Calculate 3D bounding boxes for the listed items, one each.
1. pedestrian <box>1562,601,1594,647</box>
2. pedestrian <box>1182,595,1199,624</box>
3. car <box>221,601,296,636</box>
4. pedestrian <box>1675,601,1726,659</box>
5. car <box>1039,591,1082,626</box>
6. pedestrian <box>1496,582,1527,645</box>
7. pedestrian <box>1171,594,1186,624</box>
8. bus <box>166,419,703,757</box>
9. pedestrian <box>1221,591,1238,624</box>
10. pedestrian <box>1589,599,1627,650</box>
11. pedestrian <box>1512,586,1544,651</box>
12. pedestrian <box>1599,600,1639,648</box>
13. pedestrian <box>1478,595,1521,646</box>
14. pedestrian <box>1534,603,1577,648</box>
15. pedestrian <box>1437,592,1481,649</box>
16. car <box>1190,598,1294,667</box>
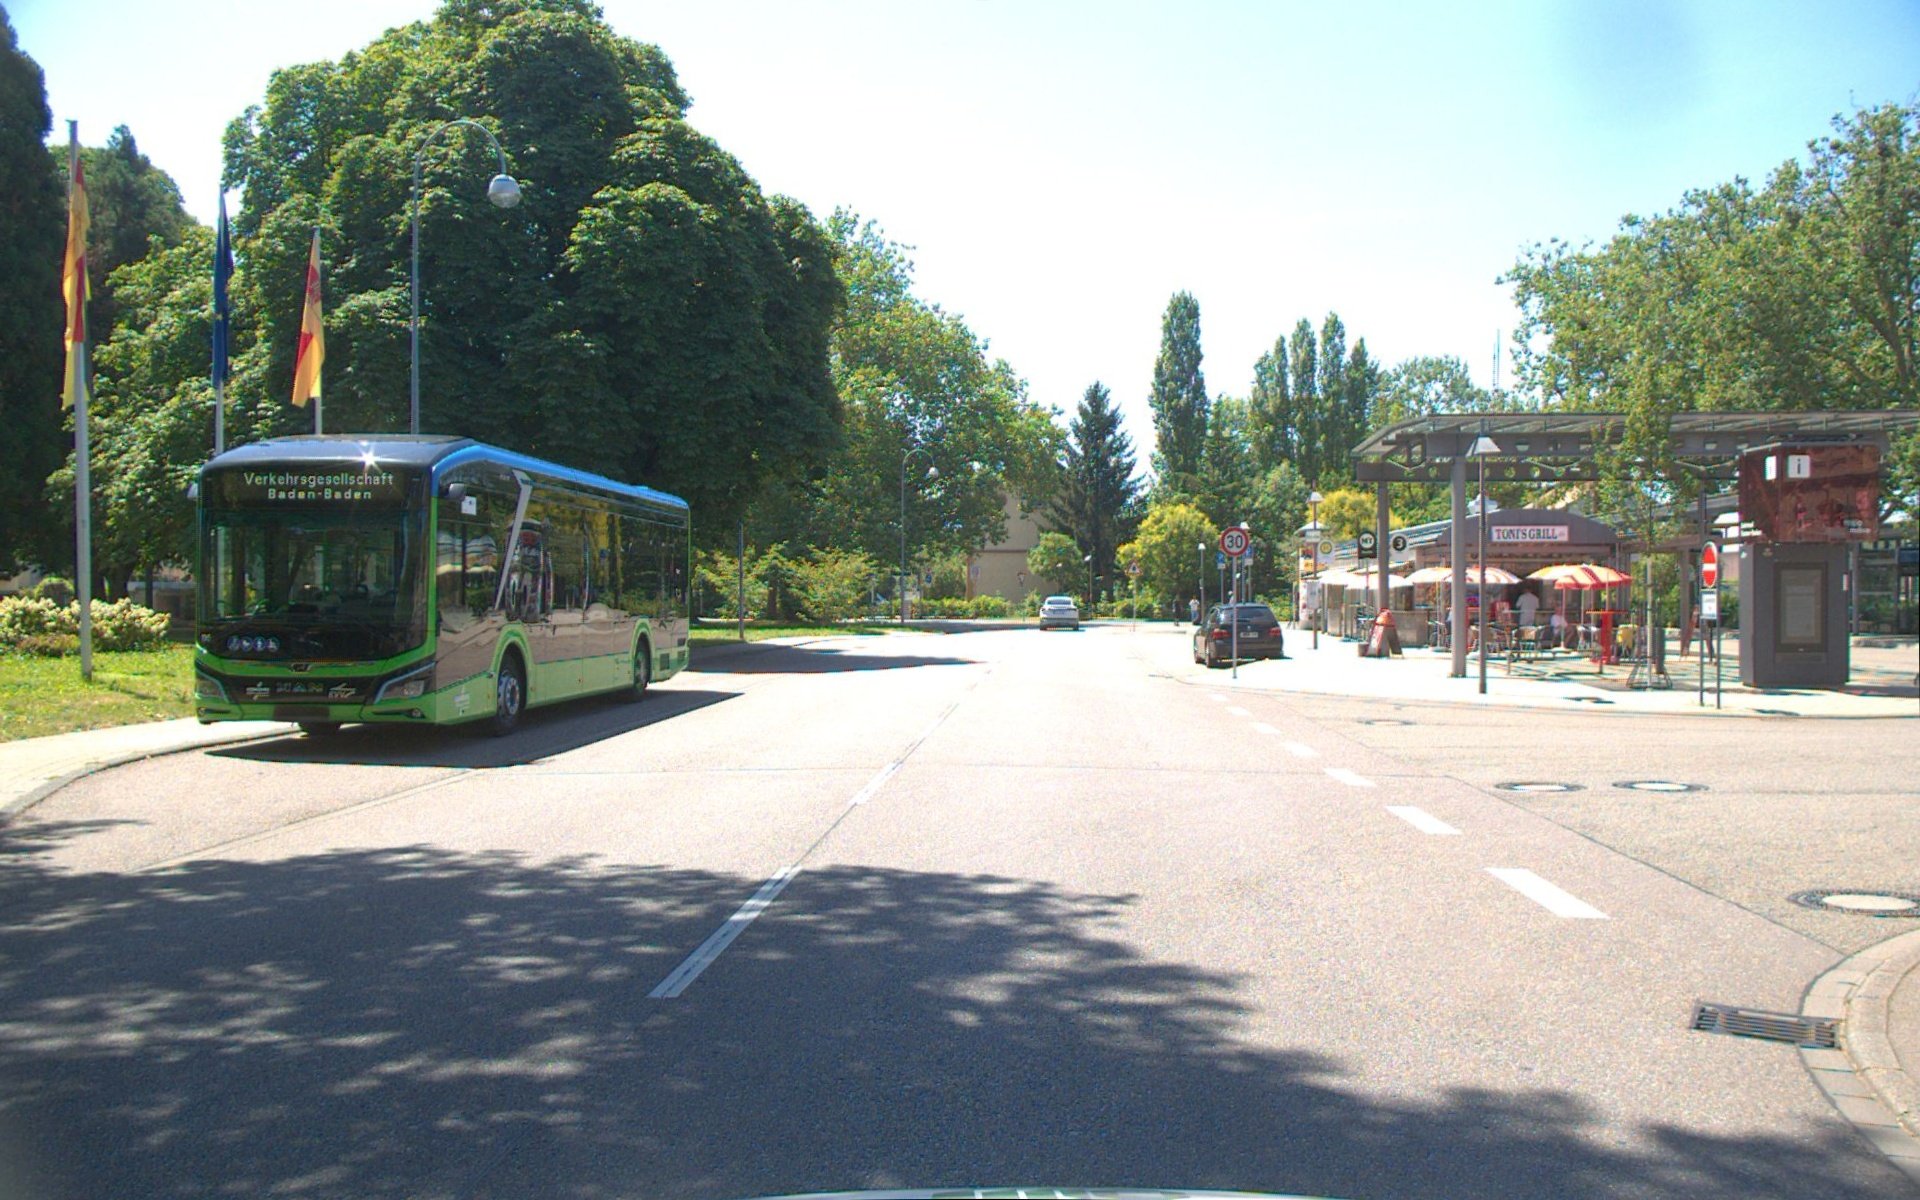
[{"bbox_3d":[16.930,0.656,45.336,0.641,1.226,0.592,2,-1,3],"label":"pedestrian"},{"bbox_3d":[13.536,0.573,97.202,0.707,1.678,0.749,0,-2,31],"label":"pedestrian"},{"bbox_3d":[-40.145,1.087,94.754,1.830,1.870,4.003,2,-1,14],"label":"car"},{"bbox_3d":[16.765,0.674,37.466,0.827,1.300,0.895,0,0,8],"label":"pedestrian"},{"bbox_3d":[5.031,0.393,82.280,1.940,1.655,4.782,0,0,6],"label":"car"},{"bbox_3d":[15.652,0.382,46.957,0.672,1.768,0.707,0,0,3],"label":"pedestrian"},{"bbox_3d":[12.661,0.523,95.897,0.624,1.678,0.749,0,-2,31],"label":"pedestrian"},{"bbox_3d":[-6.194,-0.153,22.625,2.750,3.340,12.430,0,0,3],"label":"bus"},{"bbox_3d":[16.321,0.457,100.283,0.838,2.000,0.805,0,0,-7],"label":"pedestrian"},{"bbox_3d":[15.459,0.577,39.473,0.671,1.181,0.895,0,0,8],"label":"pedestrian"},{"bbox_3d":[15.611,0.511,45.471,0.672,1.768,0.707,0,-1,3],"label":"pedestrian"},{"bbox_3d":[17.174,0.622,43.120,0.743,1.226,0.737,2,-1,3],"label":"pedestrian"},{"bbox_3d":[14.234,0.531,43.675,0.883,1.335,0.681,0,0,-31],"label":"pedestrian"},{"bbox_3d":[15.657,0.661,43.494,0.883,1.181,0.681,0,0,-31],"label":"pedestrian"},{"bbox_3d":[12.720,0.517,42.167,0.884,1.442,0.680,0,0,-34],"label":"pedestrian"},{"bbox_3d":[6.818,0.745,40.423,1.887,1.486,4.726,-3,0,3],"label":"car"}]
